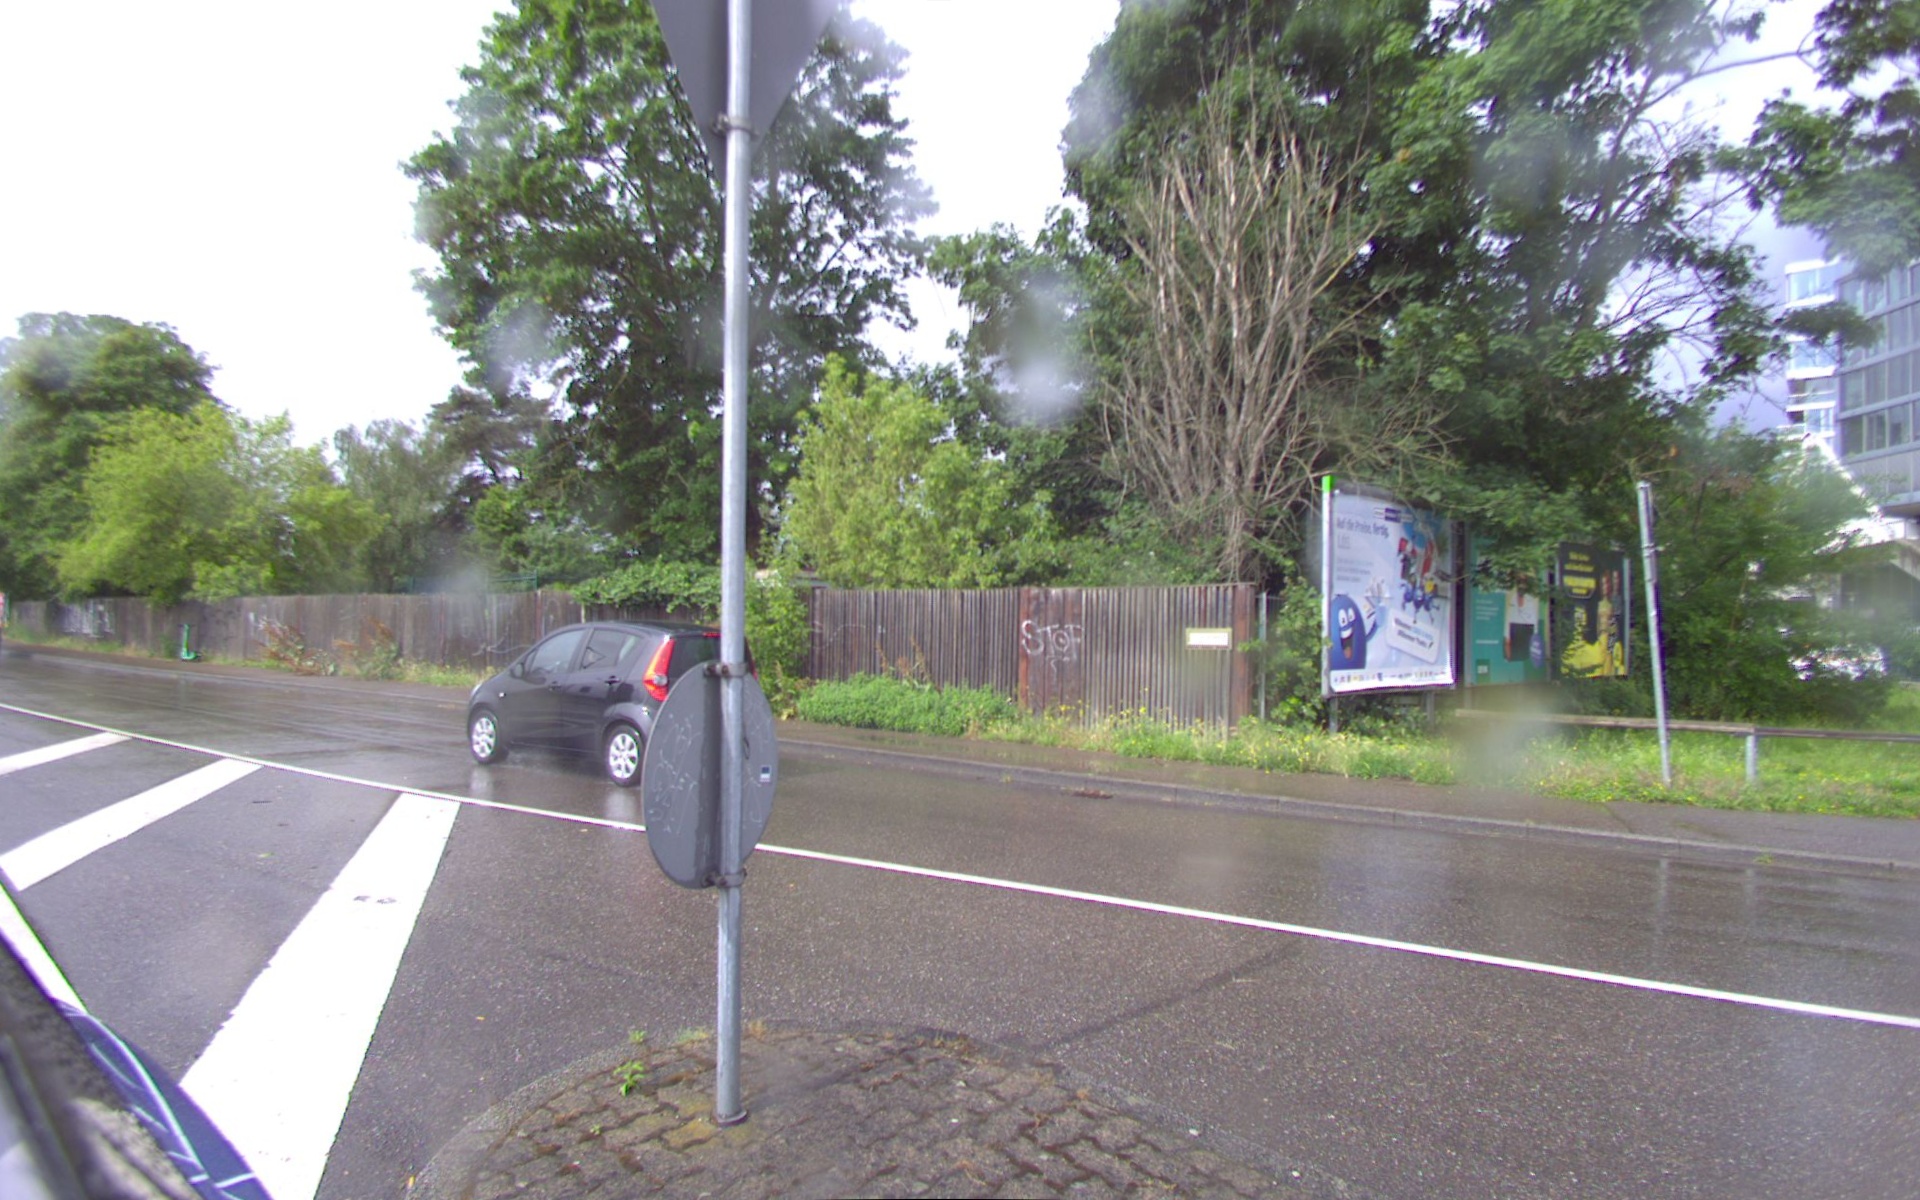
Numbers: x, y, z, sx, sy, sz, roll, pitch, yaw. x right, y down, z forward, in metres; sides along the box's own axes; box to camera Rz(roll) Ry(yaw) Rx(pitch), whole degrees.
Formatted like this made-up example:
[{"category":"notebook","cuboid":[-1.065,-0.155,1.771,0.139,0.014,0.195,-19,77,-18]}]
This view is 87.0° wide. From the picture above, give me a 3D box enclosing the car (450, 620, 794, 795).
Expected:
[{"category":"car","cuboid":[-3.585,1.033,10.616,3.448,1.545,1.615,-1,-4,34]}]
